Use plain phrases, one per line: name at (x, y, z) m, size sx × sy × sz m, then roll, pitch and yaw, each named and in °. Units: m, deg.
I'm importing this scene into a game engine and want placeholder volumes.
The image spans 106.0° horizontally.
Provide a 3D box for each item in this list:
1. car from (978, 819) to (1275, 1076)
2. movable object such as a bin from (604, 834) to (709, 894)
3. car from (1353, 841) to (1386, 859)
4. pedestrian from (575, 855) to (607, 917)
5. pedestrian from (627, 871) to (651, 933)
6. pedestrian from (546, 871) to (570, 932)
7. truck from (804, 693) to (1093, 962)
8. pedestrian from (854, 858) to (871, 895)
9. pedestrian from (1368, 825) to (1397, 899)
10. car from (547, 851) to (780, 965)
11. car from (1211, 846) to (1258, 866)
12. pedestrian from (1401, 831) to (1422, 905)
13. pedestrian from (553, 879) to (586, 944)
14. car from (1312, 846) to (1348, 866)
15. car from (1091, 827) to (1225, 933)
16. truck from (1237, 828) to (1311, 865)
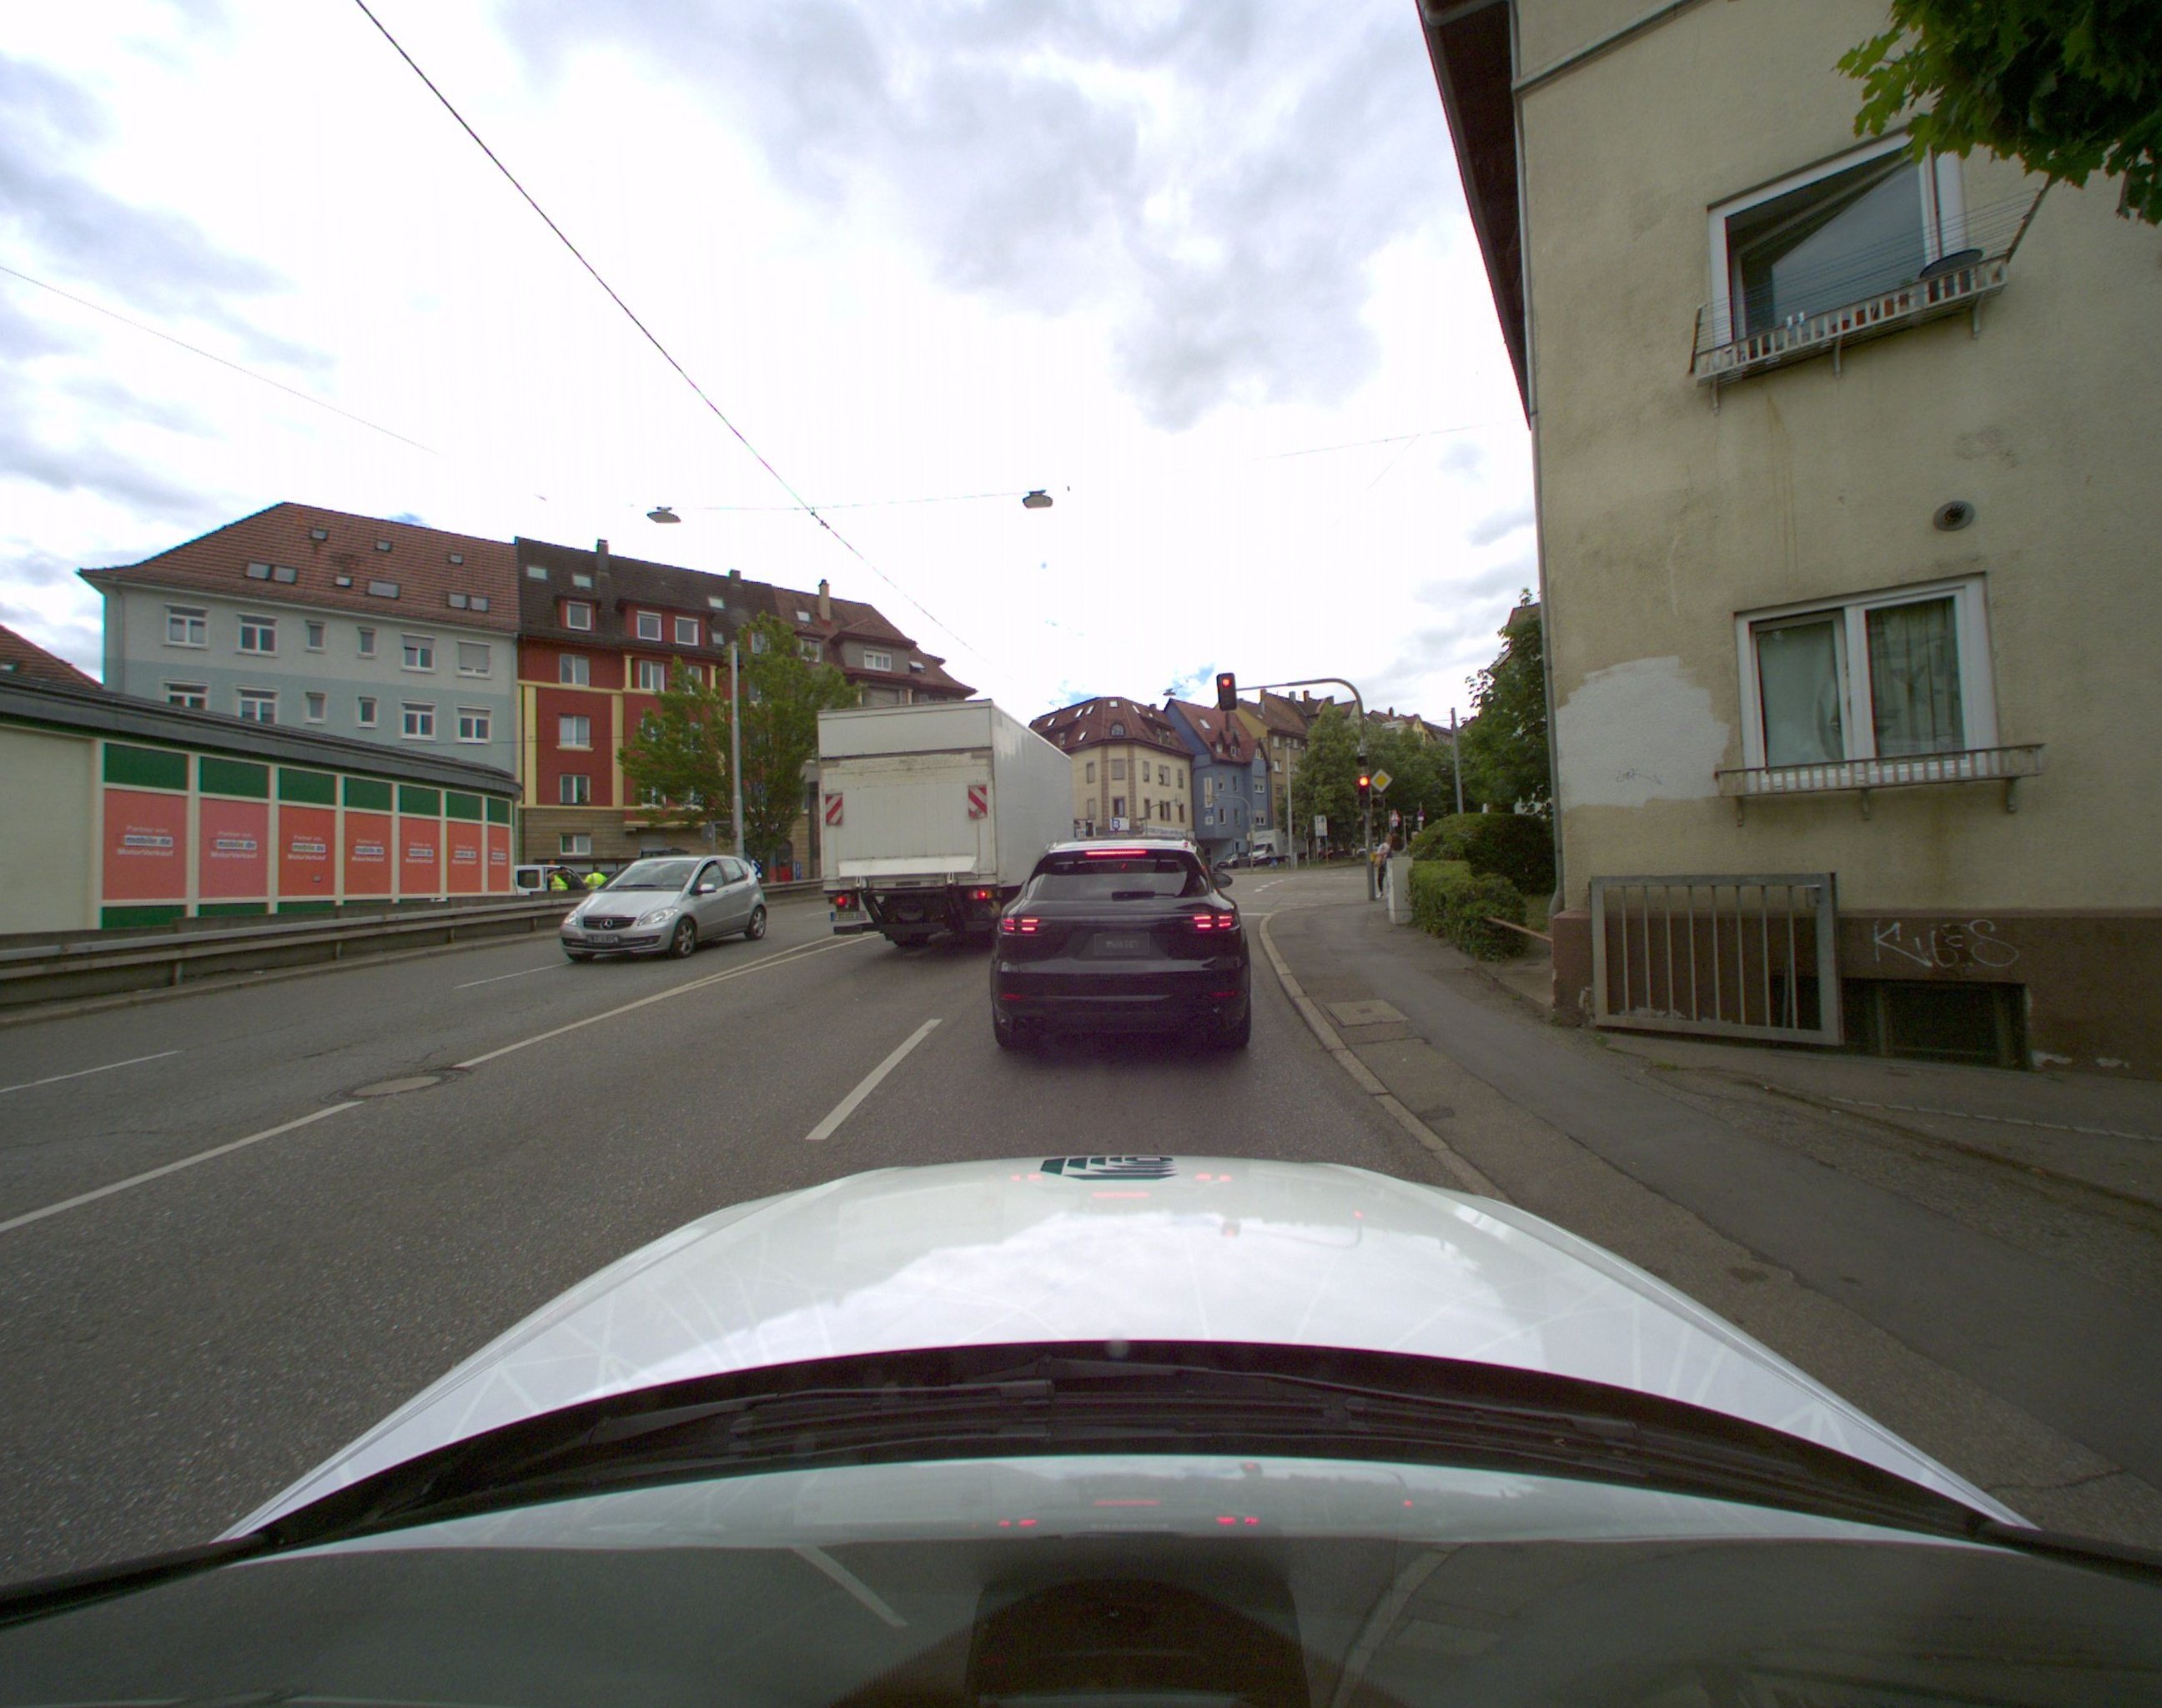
car at (0.282, 0.607, 7.488) m, size 1.973 × 1.684 × 3.998 m, roll -1°, pitch 0°, yaw -1°
movable object such as a bin at (-13.492, 0.322, 26.132) m, size 1.903 × 1.771 × 3.984 m, roll 1°, pitch 0°, yaw -11°
car at (32.621, -0.435, 92.087) m, size 1.975 × 2.014 × 4.023 m, roll 0°, pitch -1°, yaw 44°
pedestrian at (-14.166, 0.918, 23.558) m, size 0.571 × 1.761 × 0.616 m, roll 1°, pitch -1°, yaw -9°
pedestrian at (-12.597, 1.359, 23.206) m, size 0.545 × 1.730 × 0.587 m, roll 1°, pitch -1°, yaw -33°
pedestrian at (-15.229, 1.374, 23.712) m, size 0.479 × 1.730 × 0.536 m, roll 1°, pitch -1°, yaw -44°
truck at (-1.772, -0.374, 15.019) m, size 2.752 × 3.575 × 8.086 m, roll -1°, pitch 0°, yaw 9°
pedestrian at (-9.469, 0.966, 35.331) m, size 0.587 × 1.567 × 0.486 m, roll 1°, pitch -1°, yaw 1°
pedestrian at (7.617, 0.203, 20.595) m, size 0.525 × 1.819 × 0.591 m, roll 1°, pitch -1°, yaw 1°
car at (-6.781, 0.799, 13.771) m, size 1.702 × 1.618 × 4.003 m, roll -1°, pitch 0°, yaw 3°
car at (13.506, 0.204, 71.661) m, size 4.021 × 1.684 × 1.976 m, roll -1°, pitch -1°, yaw -41°
pedestrian at (8.299, 0.345, 20.458) m, size 0.459 × 1.837 × 0.325 m, roll 0°, pitch -1°, yaw 16°
pedestrian at (-13.709, 1.525, 21.844) m, size 0.562 × 1.700 × 0.541 m, roll 1°, pitch -1°, yaw -10°
car at (26.207, 0.255, 85.723) m, size 1.975 × 2.014 × 4.023 m, roll 0°, pitch -1°, yaw 45°
car at (1.579, 0.437, 15.154) m, size 1.980 × 1.684 × 4.014 m, roll -1°, pitch 0°, yaw 12°
truck at (18.613, -0.639, 78.170) m, size 2.846 × 3.340 × 8.846 m, roll 0°, pitch 0°, yaw 43°
